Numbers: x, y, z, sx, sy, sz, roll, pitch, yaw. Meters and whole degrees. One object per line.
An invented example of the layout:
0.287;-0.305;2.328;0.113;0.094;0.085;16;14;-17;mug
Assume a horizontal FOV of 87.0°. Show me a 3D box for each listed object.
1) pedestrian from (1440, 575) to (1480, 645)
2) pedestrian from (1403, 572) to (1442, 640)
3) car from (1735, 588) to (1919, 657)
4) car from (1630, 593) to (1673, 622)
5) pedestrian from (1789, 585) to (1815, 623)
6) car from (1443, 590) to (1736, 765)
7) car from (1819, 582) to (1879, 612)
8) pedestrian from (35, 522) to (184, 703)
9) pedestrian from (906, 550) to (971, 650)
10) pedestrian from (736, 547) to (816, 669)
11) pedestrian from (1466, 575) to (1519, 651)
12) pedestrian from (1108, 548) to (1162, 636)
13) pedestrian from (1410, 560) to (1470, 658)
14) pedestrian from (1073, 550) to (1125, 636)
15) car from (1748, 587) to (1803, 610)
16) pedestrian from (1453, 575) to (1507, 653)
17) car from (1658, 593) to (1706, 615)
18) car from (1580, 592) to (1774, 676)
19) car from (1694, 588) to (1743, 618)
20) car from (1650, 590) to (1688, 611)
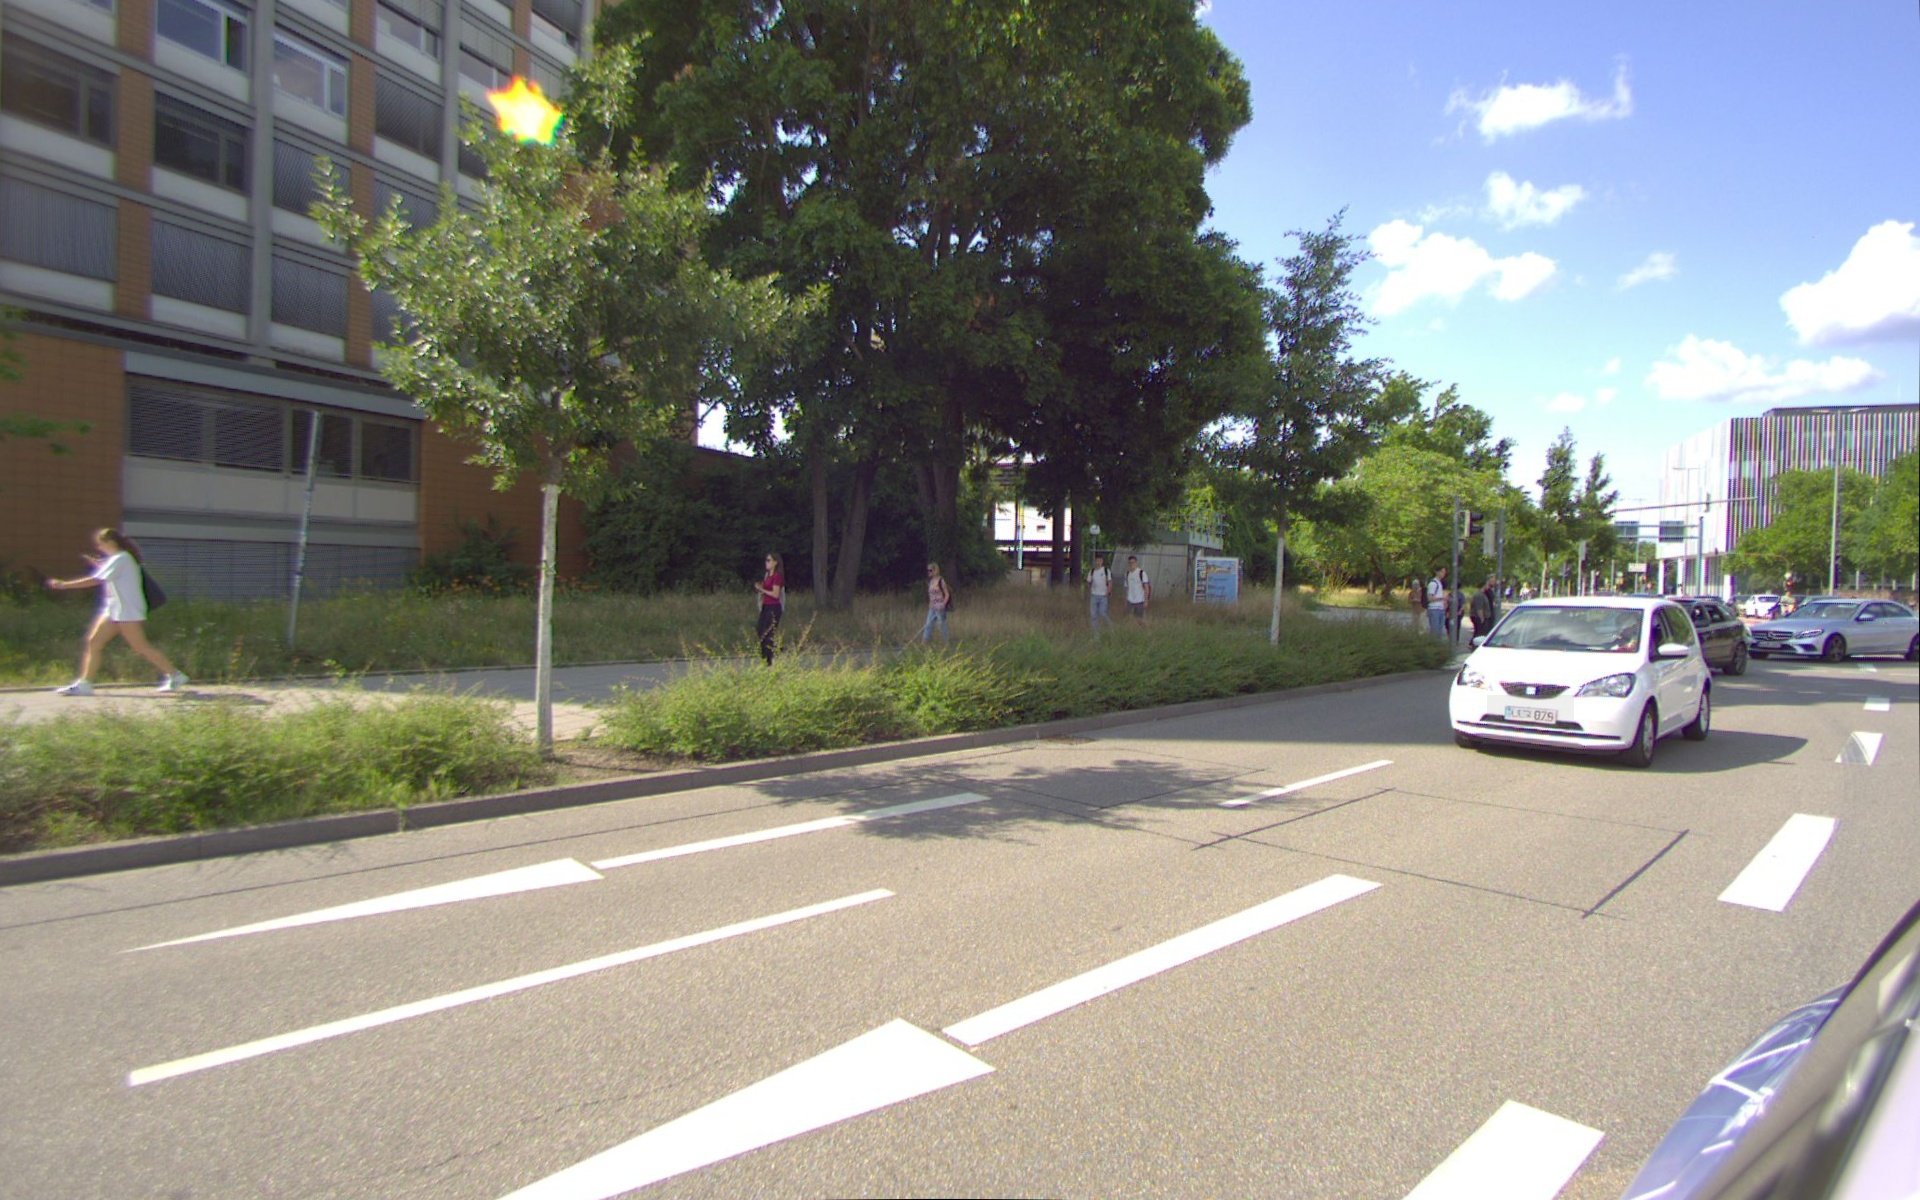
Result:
12.863;0.242;26.046;0.765;1.757;0.708;0;0;41;pedestrian
12.313;0.153;26.928;0.765;1.757;0.708;0;0;41;pedestrian
20.951;0.492;23.698;4.659;1.473;1.941;0;1;-14;car
36.812;0.358;53.842;1.816;1.481;3.949;1;1;36;car
39.422;0.177;47.391;0.731;1.736;0.868;0;0;27;pedestrian
6.544;0.627;10.348;3.934;1.440;1.651;0;1;-44;car
43.686;-0.182;49.809;1.990;1.393;4.210;1;1;39;car
-8.227;0.090;9.817;1.078;1.642;0.615;-1;4;-42;pedestrian
-0.369;-0.018;17.379;0.614;1.642;0.876;5;4;44;pedestrian
-2.576;0.093;14.196;0.874;1.642;0.615;0;4;-41;pedestrian
12.626;0.295;23.995;0.755;1.757;0.926;0;0;-43;pedestrian
3.557;-0.169;20.549;0.614;1.720;0.876;5;4;44;pedestrian
10.272;0.190;21.667;0.755;2.039;0.963;0;0;-43;pedestrian
2.890;-0.166;21.020;0.614;1.720;0.876;5;4;44;pedestrian
50.524;-0.108;62.781;1.761;1.371;3.966;0;1;25;car
12.064;0.317;23.477;0.755;1.757;0.926;0;0;-43;pedestrian
41.401;0.194;58.111;1.582;1.148;3.597;1;1;25;car
13.462;0.564;18.945;4.054;1.389;1.704;0;1;-35;car
39.830;0.149;53.234;1.814;1.481;3.952;1;1;34;car
44.711;-0.016;63.837;1.898;1.148;4.052;1;3;35;car
